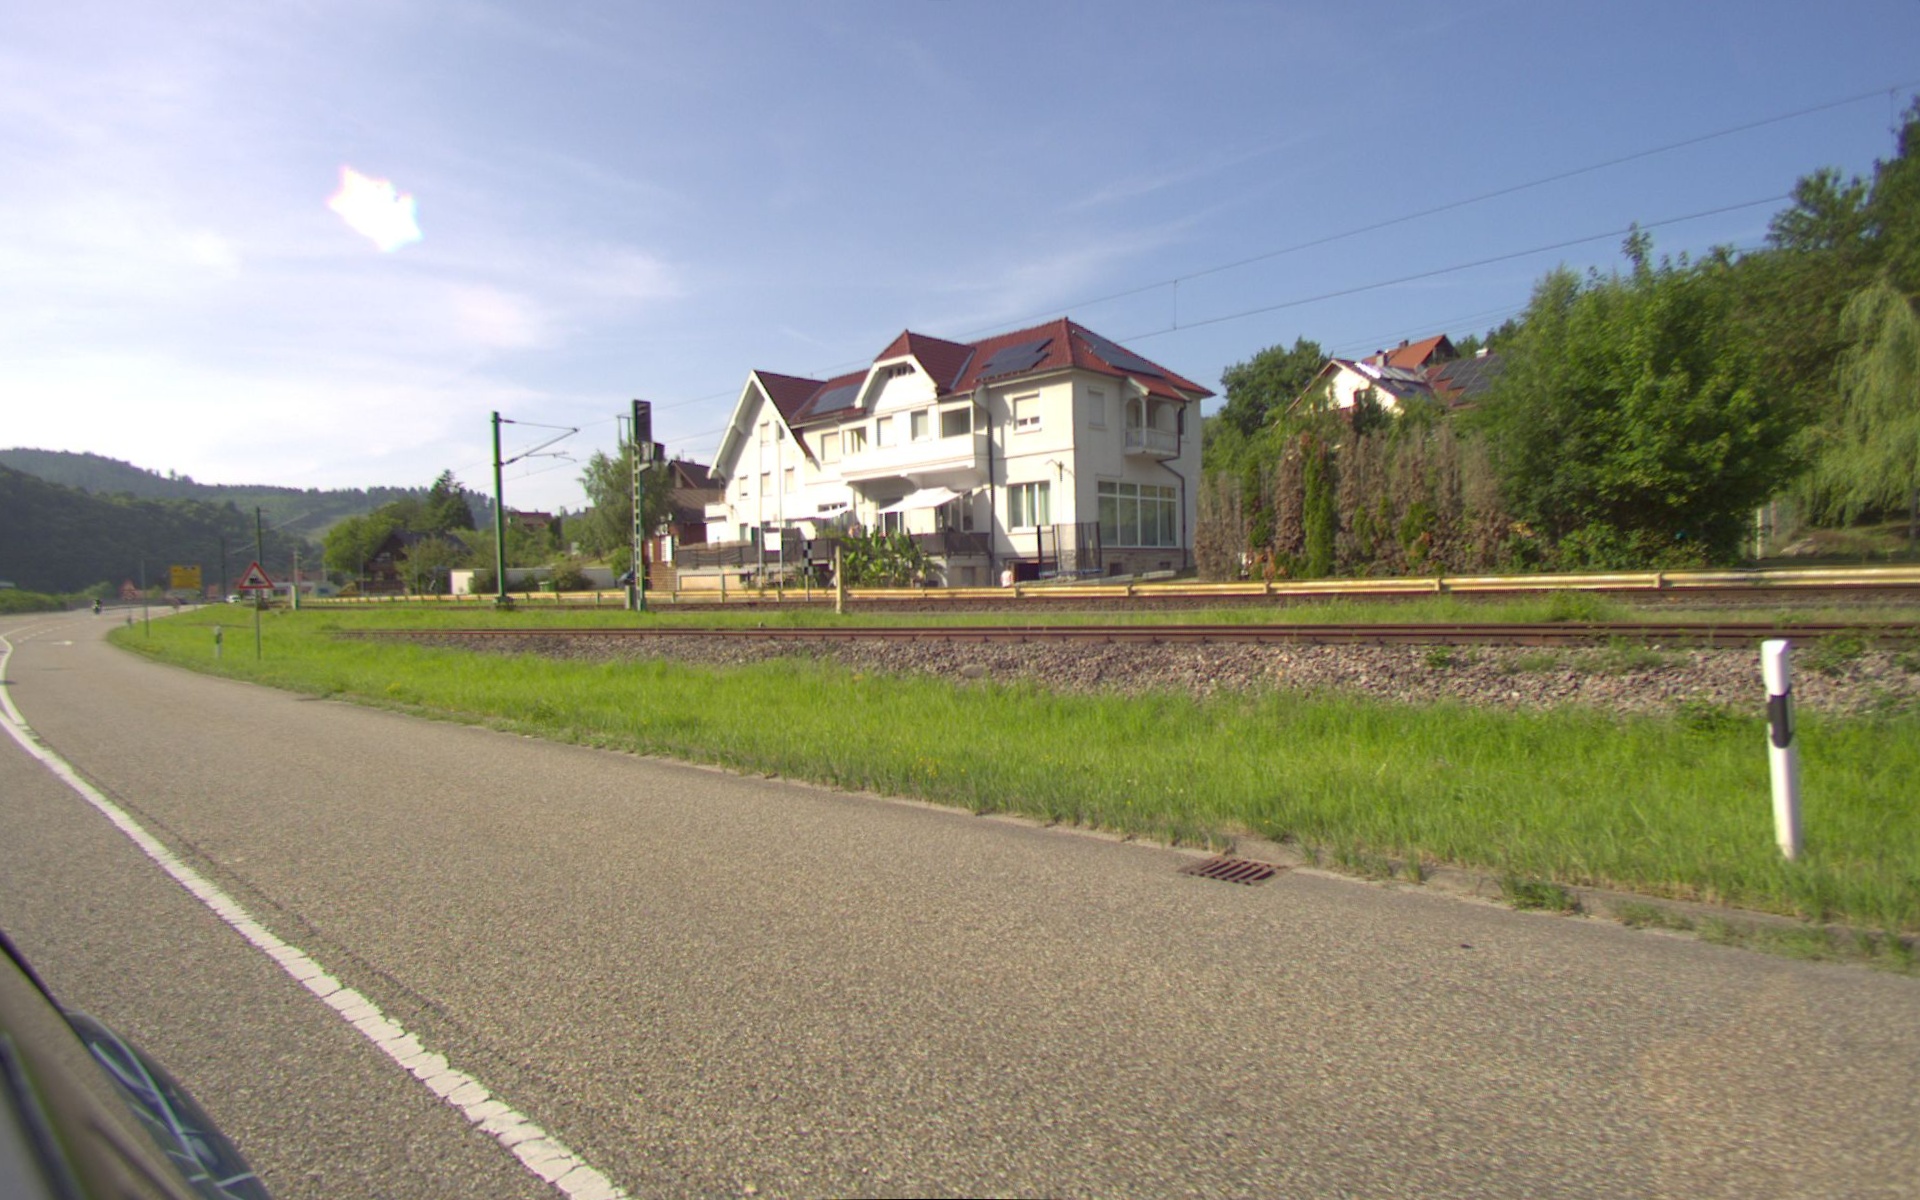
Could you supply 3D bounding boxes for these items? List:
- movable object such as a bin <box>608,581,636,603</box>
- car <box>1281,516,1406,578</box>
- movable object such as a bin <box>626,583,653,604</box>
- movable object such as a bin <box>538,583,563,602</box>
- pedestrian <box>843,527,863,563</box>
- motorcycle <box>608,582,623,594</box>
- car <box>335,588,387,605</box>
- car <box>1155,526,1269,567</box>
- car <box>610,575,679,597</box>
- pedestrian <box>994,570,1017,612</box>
[{"bbox_3d":[-19.553,-0.450,58.522,1.077,1.200,1.144,-3,2,-44],"label":"movable object such as a bin"},{"bbox_3d":[11.762,-1.592,30.932,4.097,1.704,2.001,-3,1,-44],"label":"car"},{"bbox_3d":[-18.788,-0.389,59.395,1.077,1.200,1.144,-3,2,-44],"label":"movable object such as a bin"},{"bbox_3d":[-27.200,-0.505,67.149,1.092,1.200,1.128,-1,2,41],"label":"movable object such as a bin"},{"bbox_3d":[-5.048,-2.586,47.719,0.599,1.628,0.678,-3,1,-45],"label":"pedestrian"},{"bbox_3d":[-31.861,-1.119,93.546,0.654,1.000,1.746,-3,2,-39],"label":"motorcycle"},{"bbox_3d":[-99.942,-0.524,168.920,6.965,2.475,2.958,-3,1,-21],"label":"car"},{"bbox_3d":[12.053,-2.580,48.602,4.929,1.875,2.201,3,5,44],"label":"car"},{"bbox_3d":[-21.027,-0.960,67.553,4.039,1.280,1.741,-3,1,-33],"label":"car"},{"bbox_3d":[1.838,-0.369,40.638,0.607,1.628,0.669,-1,1,38],"label":"pedestrian"}]
